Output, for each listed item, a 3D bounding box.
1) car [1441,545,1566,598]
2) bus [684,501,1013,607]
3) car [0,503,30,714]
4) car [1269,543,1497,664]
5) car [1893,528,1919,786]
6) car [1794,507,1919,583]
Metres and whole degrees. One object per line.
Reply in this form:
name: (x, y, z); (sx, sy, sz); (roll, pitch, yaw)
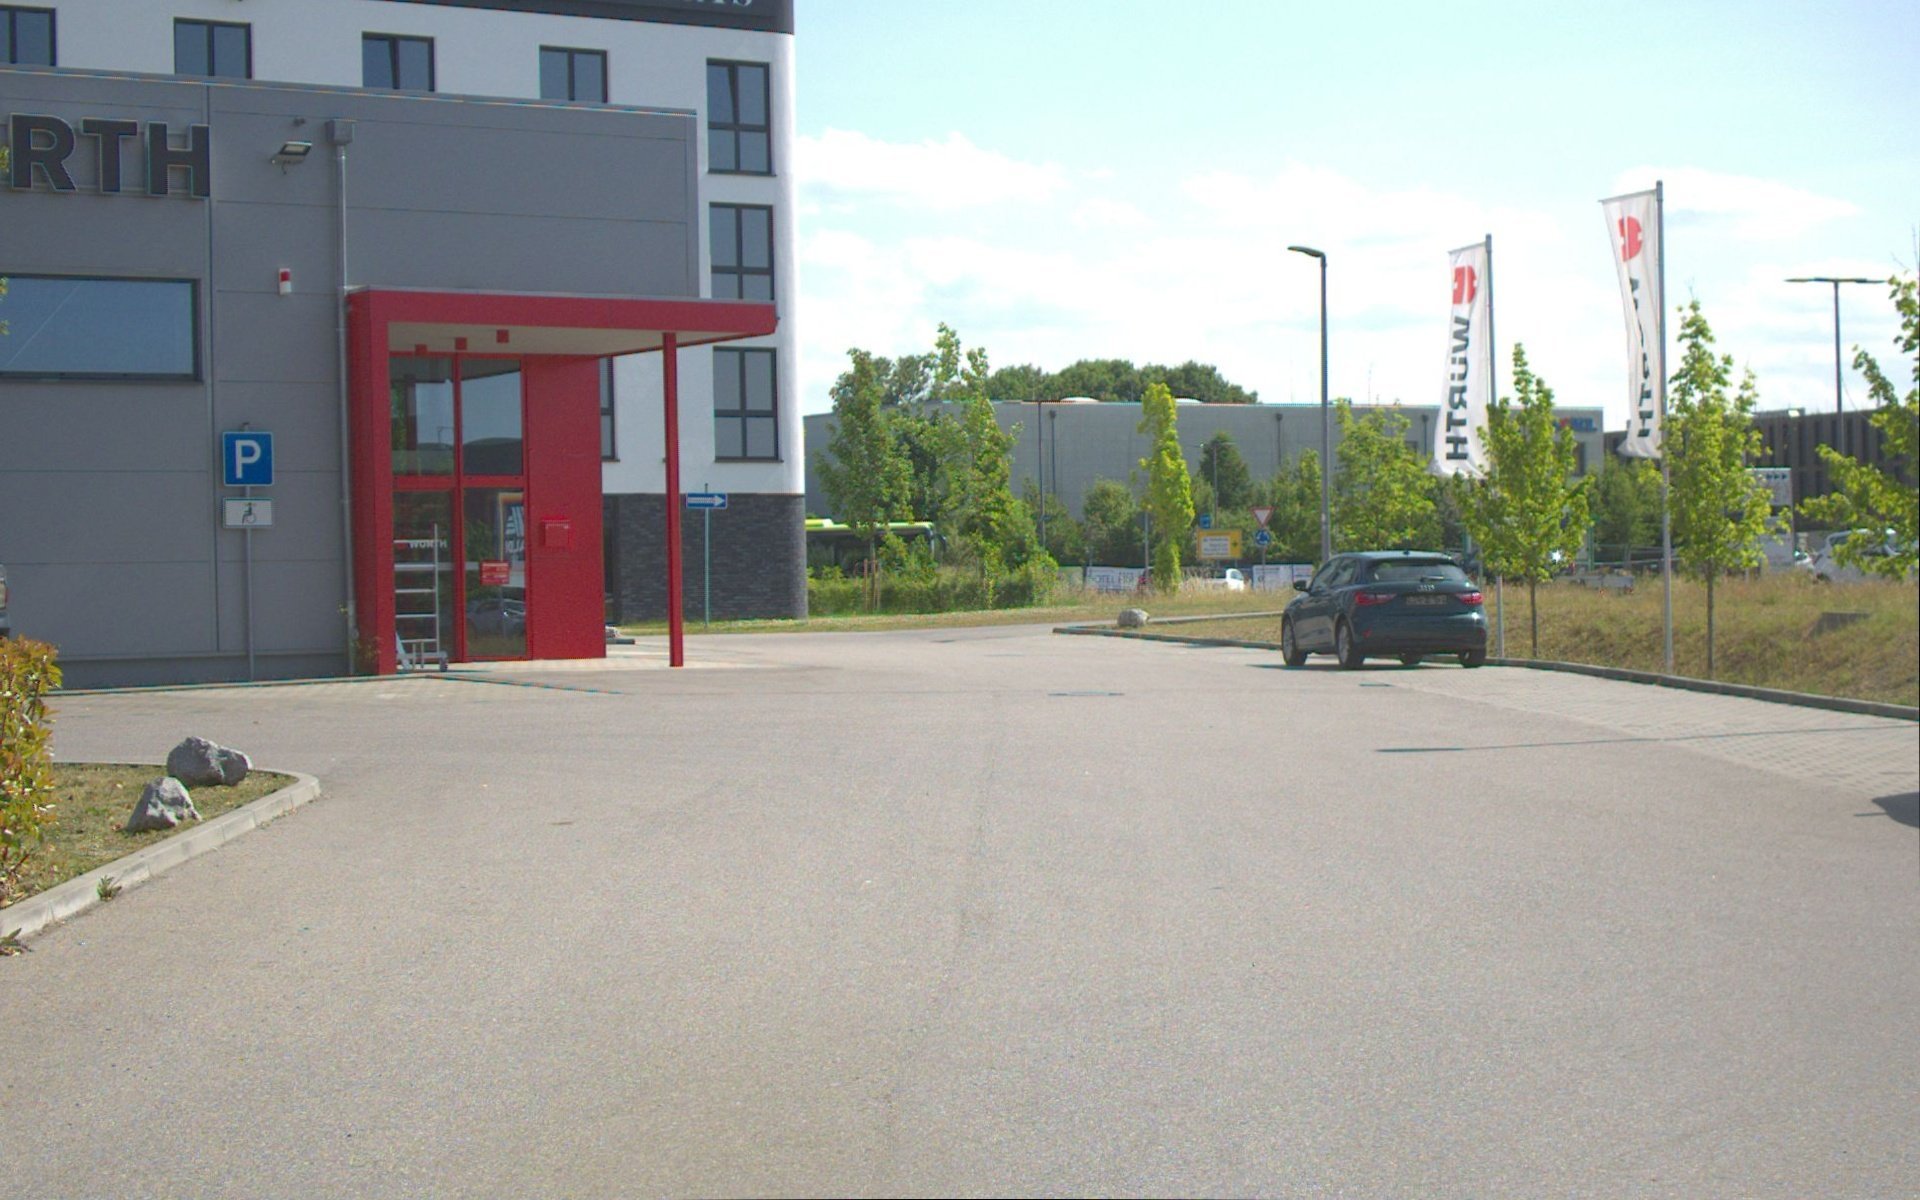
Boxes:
car: (14.915, -0.799, 94.474); (1.647, 1.381, 3.513); (-1, 2, -26)
bus: (-3.855, -1.611, 120.155); (11.215, 3.545, 2.575); (-1, 1, 4)
car: (-10.540, 0.059, 32.160); (2.071, 1.874, 4.879); (-2, 2, -34)
car: (5.131, 0.016, 42.193); (1.698, 1.401, 3.898); (0, 1, -10)
car: (6.463, 0.318, 17.934); (1.836, 1.472, 4.121); (-3, 1, -3)
car: (18.939, -1.134, 69.876); (1.872, 1.478, 4.001); (-1, 2, -22)
